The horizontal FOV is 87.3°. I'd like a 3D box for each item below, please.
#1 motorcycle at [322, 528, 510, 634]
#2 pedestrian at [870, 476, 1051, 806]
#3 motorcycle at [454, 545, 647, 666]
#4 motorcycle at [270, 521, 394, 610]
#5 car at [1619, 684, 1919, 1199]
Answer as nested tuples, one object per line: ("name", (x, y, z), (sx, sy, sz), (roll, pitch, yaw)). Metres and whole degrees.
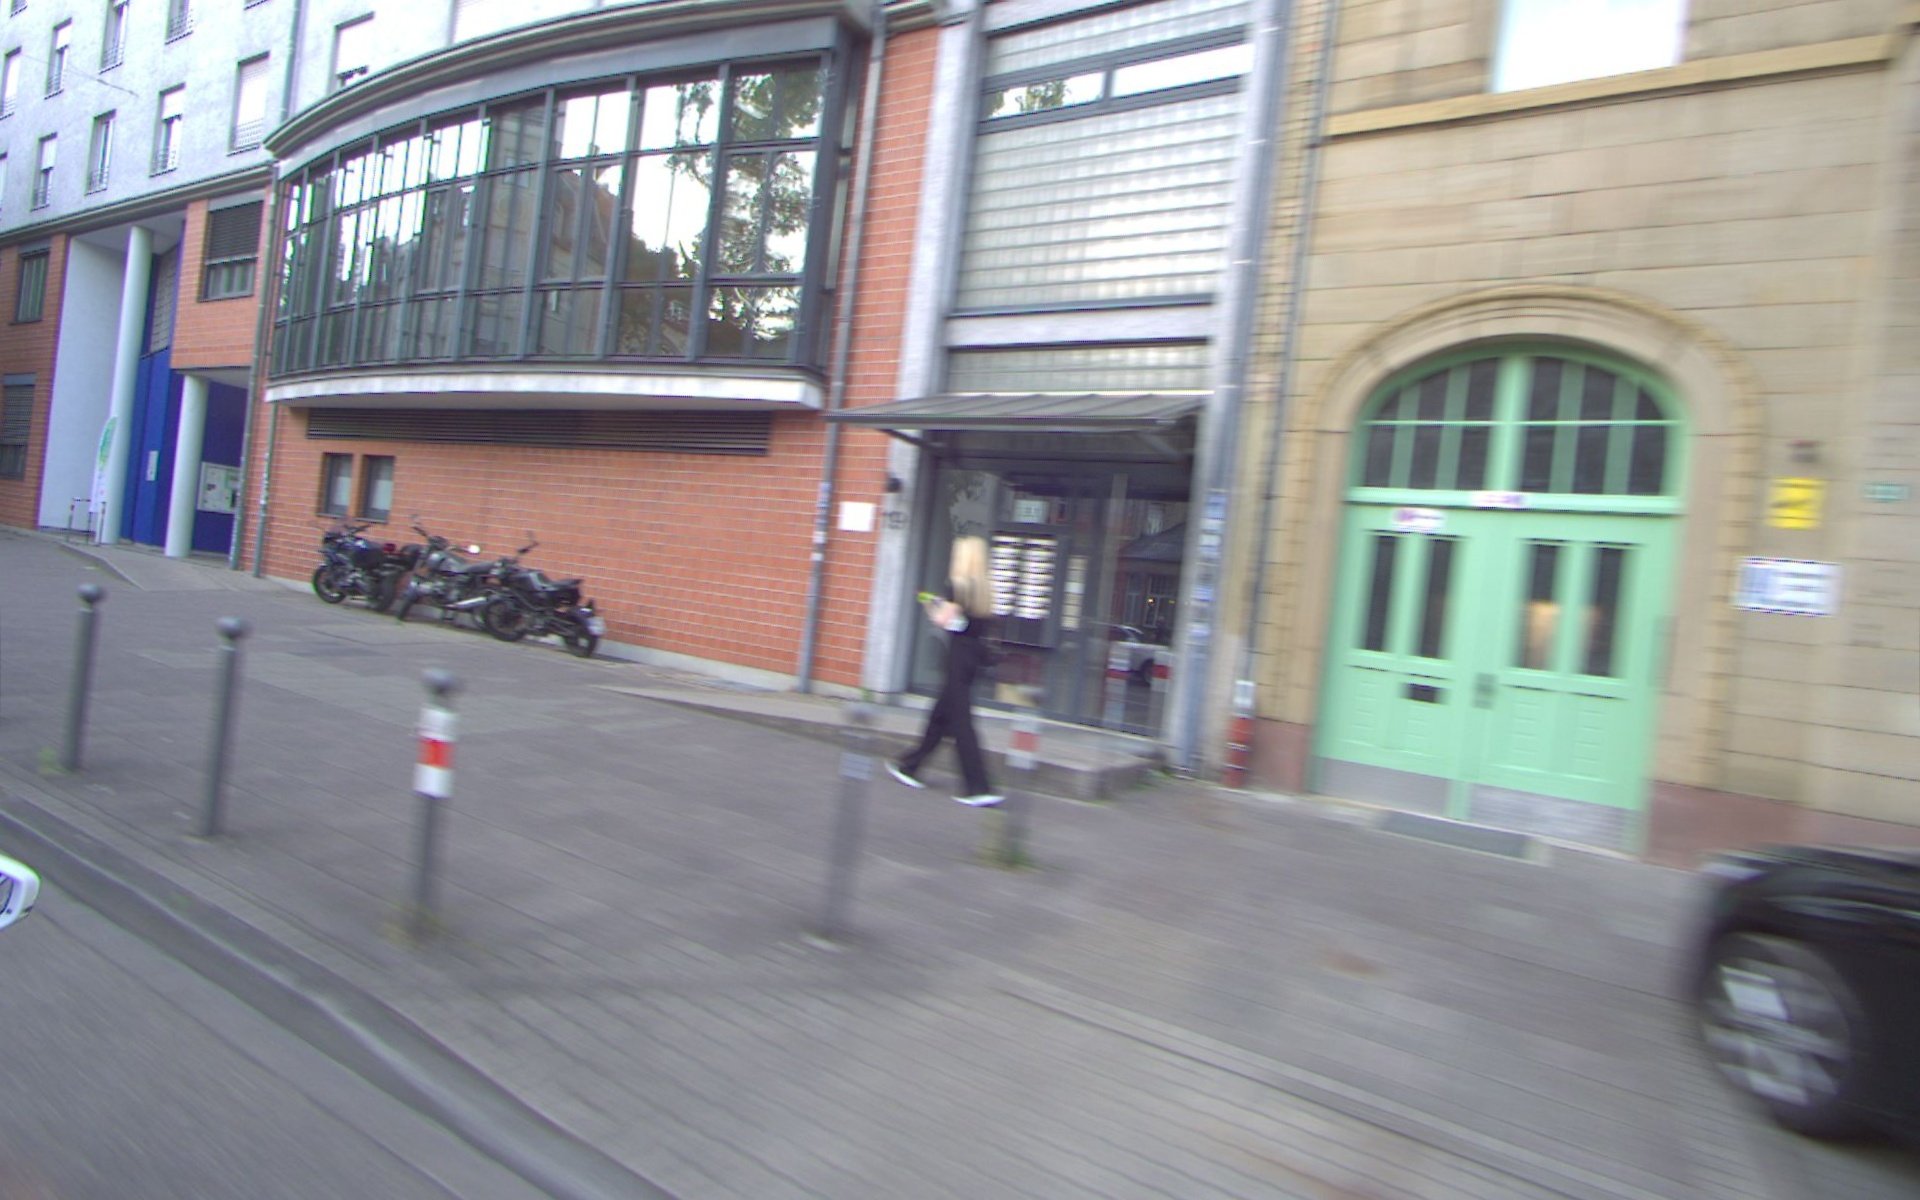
("motorcycle", (-7.414, -0.261, 13.709), (2.371, 1.154, 0.777), (7, 2, 19))
("pedestrian", (0.000, 0.244, 6.753), (0.843, 2.041, 0.607), (7, 3, 33))
("motorcycle", (-4.932, 0.046, 12.033), (2.399, 1.154, 0.800), (7, 2, 31))
("motorcycle", (-9.385, -0.520, 15.006), (2.048, 1.118, 0.588), (7, 3, 29))
("car", (3.599, 1.169, 2.069), (1.692, 1.510, 4.070), (7, -1, 1))
